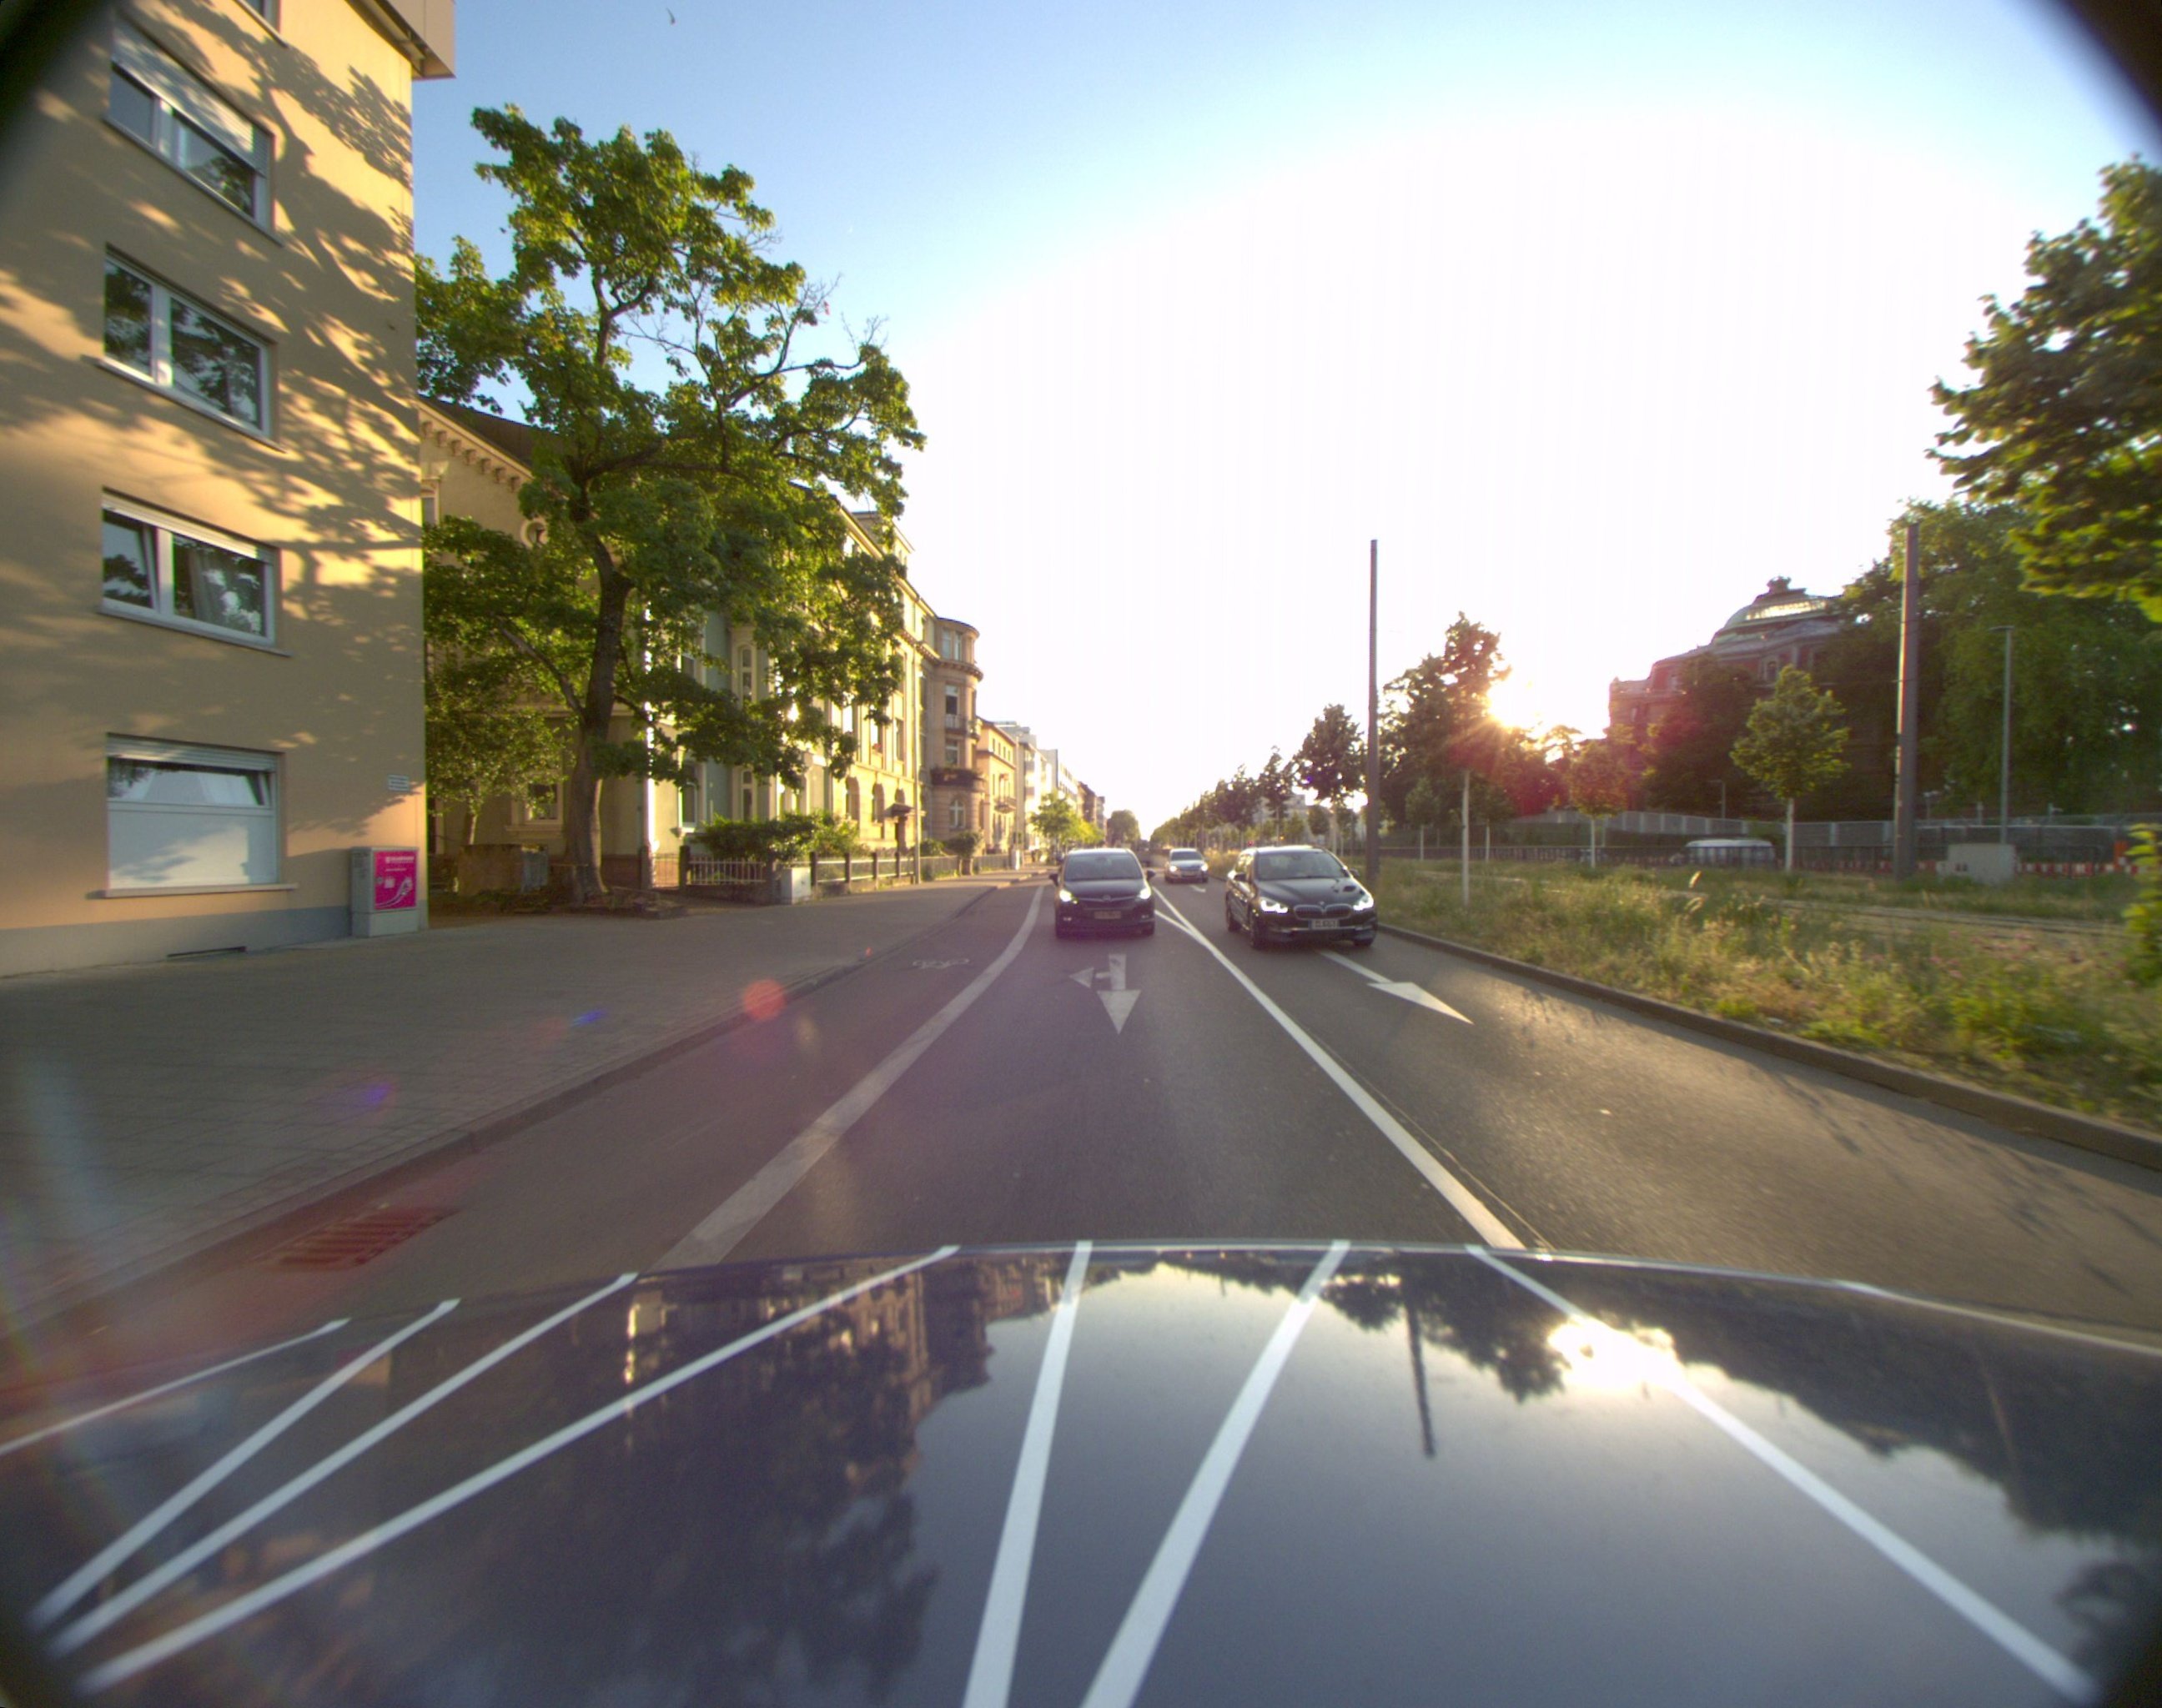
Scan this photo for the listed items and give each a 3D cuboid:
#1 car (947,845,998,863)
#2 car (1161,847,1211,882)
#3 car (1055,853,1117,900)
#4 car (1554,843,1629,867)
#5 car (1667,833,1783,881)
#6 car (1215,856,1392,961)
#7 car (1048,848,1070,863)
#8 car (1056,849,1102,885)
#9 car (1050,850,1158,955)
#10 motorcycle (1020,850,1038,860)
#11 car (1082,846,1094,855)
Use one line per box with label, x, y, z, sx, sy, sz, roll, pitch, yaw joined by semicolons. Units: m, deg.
car;-9.512;0.018;66.782;4.096;1.473;1.939;-1;1;4
car;4.689;0.447;34.521;1.859;1.425;4.844;-2;-1;3
car;0.083;0.730;26.328;1.859;1.425;4.842;-2;-1;-2
car;32.959;0.089;49.225;1.998;1.472;4.523;-2;-1;3
car;32.128;0.161;38.109;1.998;2.155;4.752;-2;0;4
car;3.523;0.781;12.996;1.859;1.425;4.844;-2;-1;4
car;-2.176;0.155;75.634;1.882;1.394;4.100;-1;1;2
car;-0.075;0.563;33.930;1.859;1.425;4.843;-2;-1;0
car;0.361;0.795;14.993;1.771;1.649;4.851;-1;1;-1
motorcycle;-5.643;0.075;83.039;1.848;1.091;0.576;-1;1;9
car;1.238;-0.670;134.471;1.936;1.472;4.100;-1;1;2
